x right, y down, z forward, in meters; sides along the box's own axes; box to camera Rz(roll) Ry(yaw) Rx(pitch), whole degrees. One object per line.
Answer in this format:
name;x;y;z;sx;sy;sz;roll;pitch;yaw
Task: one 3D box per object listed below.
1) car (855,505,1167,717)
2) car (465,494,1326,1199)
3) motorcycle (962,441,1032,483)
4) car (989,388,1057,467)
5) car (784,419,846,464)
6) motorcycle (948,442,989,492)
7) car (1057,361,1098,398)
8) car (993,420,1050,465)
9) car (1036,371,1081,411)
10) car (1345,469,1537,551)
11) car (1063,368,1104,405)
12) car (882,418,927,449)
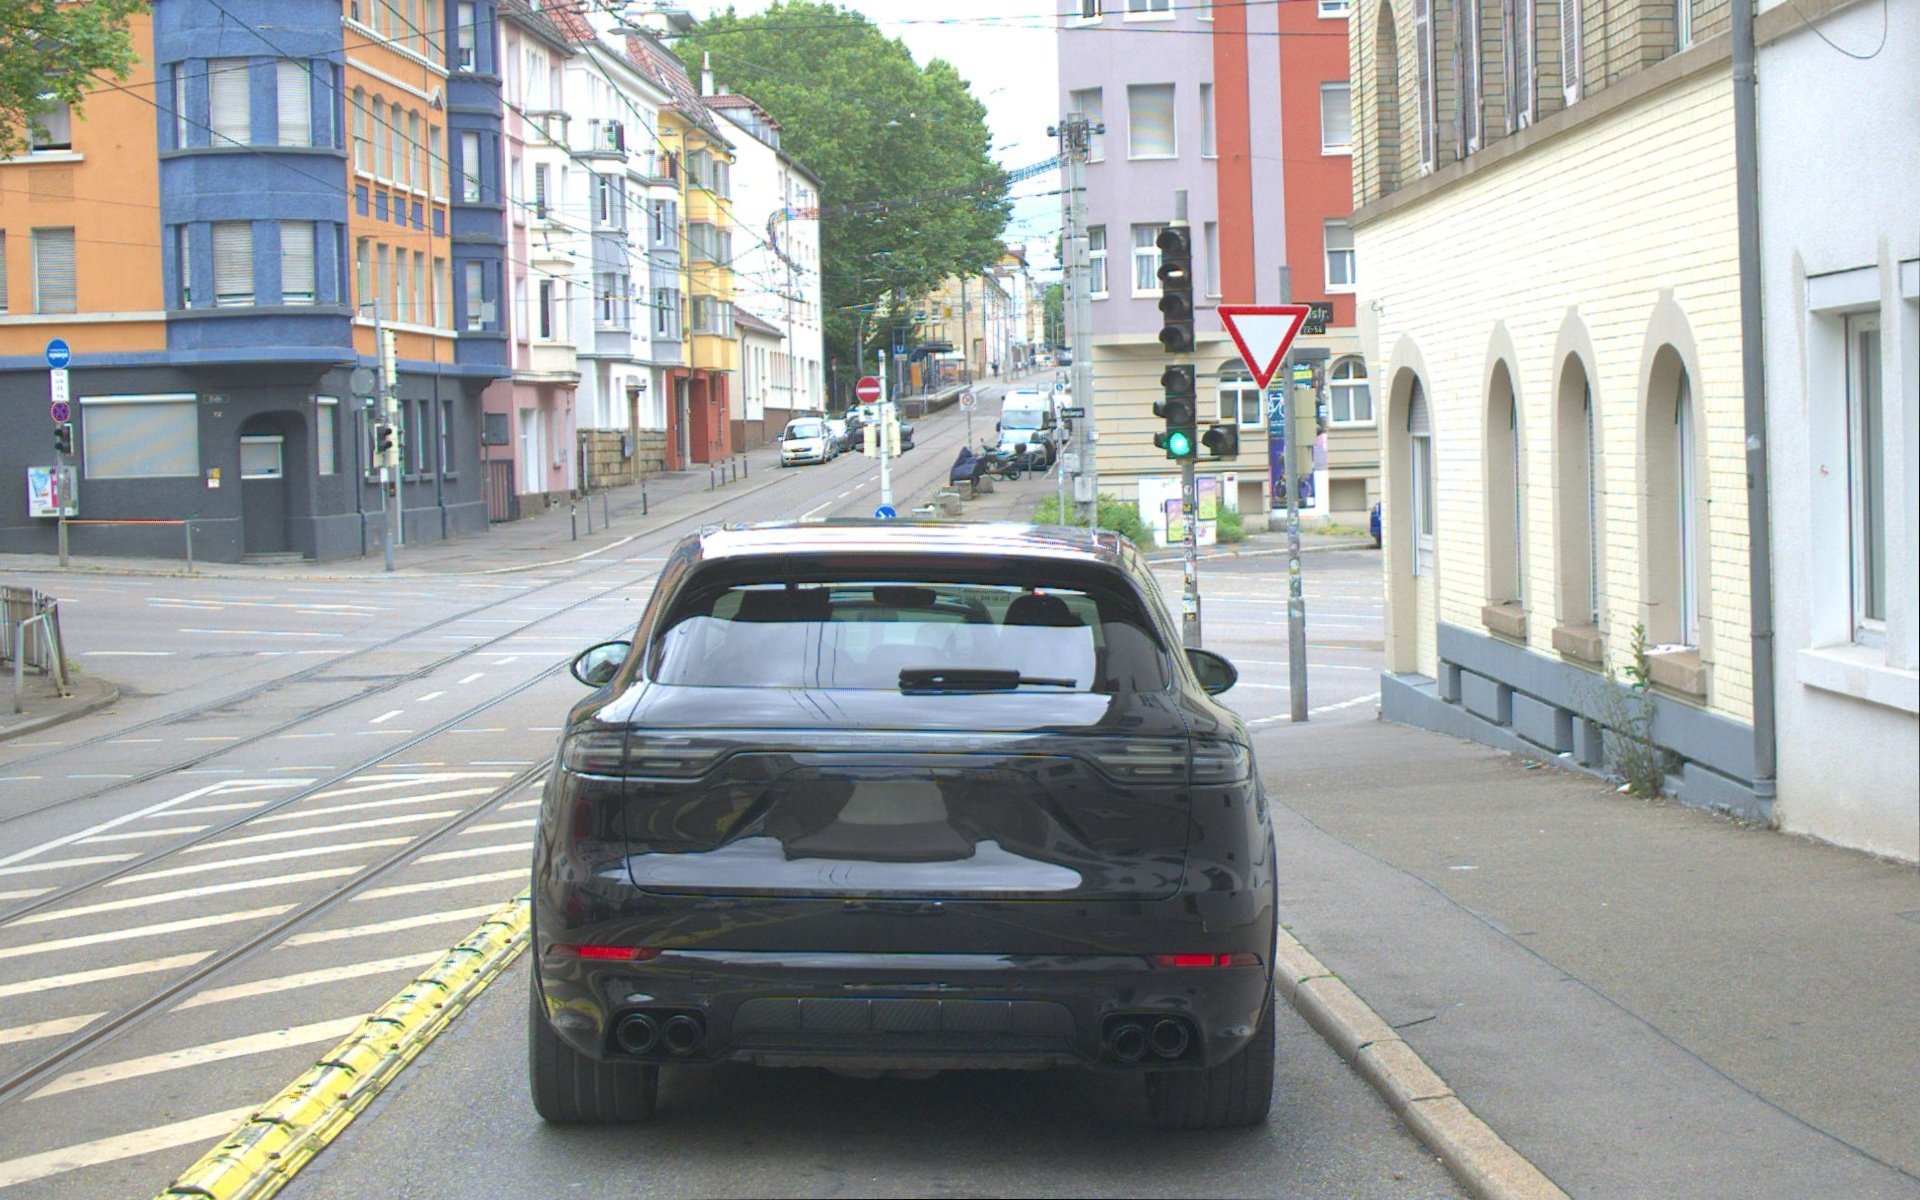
car;0.580;0.049;33.774;1.866;1.877;4.282;2;2;17
car;-0.028;0.534;10.389;2.024;1.636;4.356;2;2;4
motorcycle;1.185;-4.456;110.819;2.176;1.322;0.700;0;3;-6
car;2.377;-6.504;129.547;2.267;2.880;4.769;1;3;4
car;-5.697;-6.267;135.845;1.994;1.686;4.000;1;3;4
motorcycle;0.235;-3.880;100.305;0.859;1.322;2.185;-6;4;-5
car;7.219;-13.496;210.572;2.267;2.176;4.769;1;3;4
car;2.236;-5.691;124.033;1.840;1.563;3.819;1;3;4
car;5.469;-11.568;190.614;2.267;2.176;4.769;1;3;4
car;10.453;-1.975;74.591;4.130;1.529;1.918;-5;6;-41
car;7.369;-12.698;204.562;2.267;2.176;4.769;1;3;4
car;-2.467;-7.430;152.962;1.686;1.322;3.662;1;3;4
